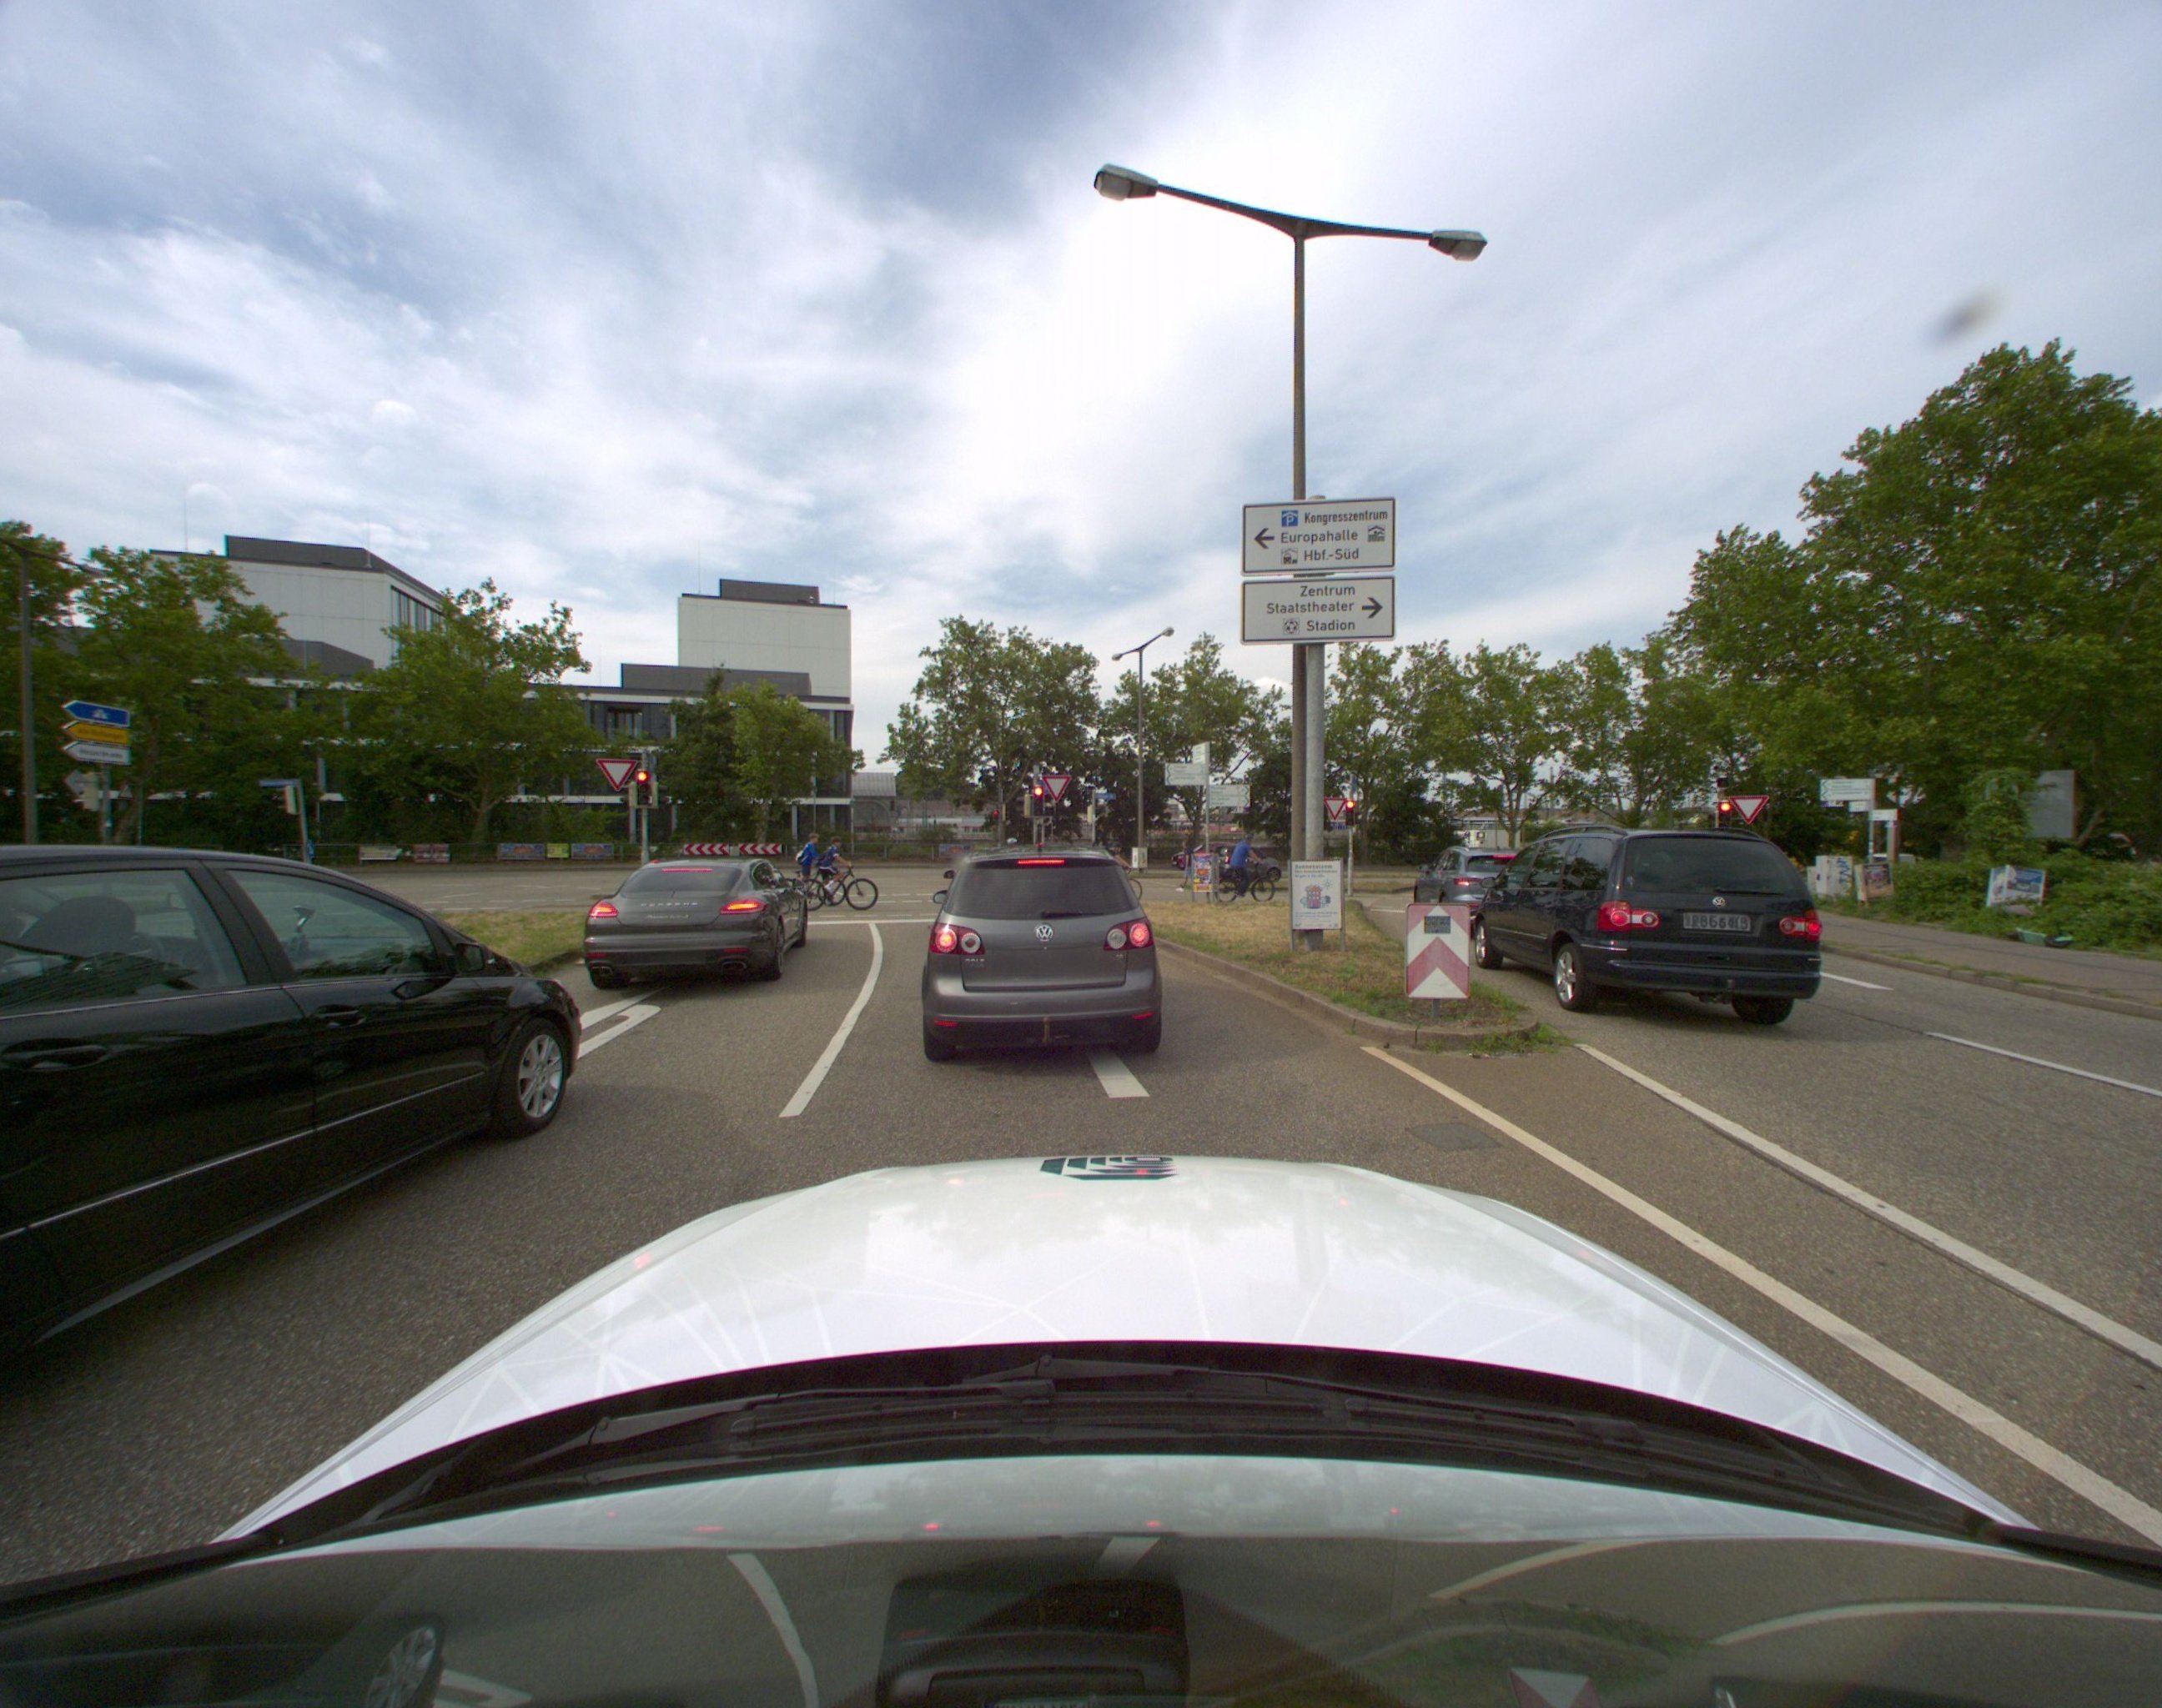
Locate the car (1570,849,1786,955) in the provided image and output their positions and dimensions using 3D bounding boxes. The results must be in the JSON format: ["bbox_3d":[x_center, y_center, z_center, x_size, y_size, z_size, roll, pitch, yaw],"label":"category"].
[{"bbox_3d":[10.859,0.777,15.209,1.738,1.643,4.152,2,0,13],"label":"car"}]

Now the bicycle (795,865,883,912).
[{"bbox_3d":[-5.517,0.778,18.669,1.904,1.013,0.625,-1,1,-16],"label":"bicycle"}]

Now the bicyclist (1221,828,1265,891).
[{"bbox_3d":[4.365,0.142,21.958,0.883,1.656,0.807,-1,0,-17],"label":"bicyclist"}]

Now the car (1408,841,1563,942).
[{"bbox_3d":[7.393,0.603,15.308,1.679,1.585,4.171,2,0,13],"label":"car"}]

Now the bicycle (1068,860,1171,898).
[{"bbox_3d":[0.985,0.634,21.116,2.586,0.890,0.701,-1,1,-13],"label":"bicycle"}]

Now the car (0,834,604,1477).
[{"bbox_3d":[-3.648,0.723,2.972,1.755,1.575,4.028,0,1,-6],"label":"car"}]

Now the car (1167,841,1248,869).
[{"bbox_3d":[6.804,0.044,43.764,3.963,1.448,1.692,-1,0,-19],"label":"car"}]

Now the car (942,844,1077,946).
[{"bbox_3d":[-1.391,0.592,14.116,1.743,1.482,4.063,-1,0,-14],"label":"car"}]

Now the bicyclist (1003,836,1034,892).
[{"bbox_3d":[-1.779,0.272,23.127,0.780,1.581,0.652,0,1,-12],"label":"bicyclist"}]

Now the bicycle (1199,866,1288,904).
[{"bbox_3d":[4.381,0.820,21.947,2.233,0.952,0.807,-1,0,-17],"label":"bicycle"}]

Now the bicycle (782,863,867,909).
[{"bbox_3d":[-6.144,0.753,19.526,1.906,1.013,0.625,-1,1,-18],"label":"bicycle"}]

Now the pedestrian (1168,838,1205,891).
[{"bbox_3d":[3.526,0.346,27.128,1.038,1.710,0.858,1,1,19],"label":"pedestrian"}]

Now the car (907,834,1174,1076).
[{"bbox_3d":[-0.457,0.641,7.371,1.739,1.546,4.073,-1,0,-6],"label":"car"}]

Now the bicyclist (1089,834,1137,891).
[{"bbox_3d":[0.816,0.213,21.067,1.115,1.436,0.645,-1,1,-13],"label":"bicyclist"}]

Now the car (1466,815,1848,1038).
[{"bbox_3d":[5.577,0.566,8.610,1.739,1.724,4.151,2,0,11],"label":"car"}]

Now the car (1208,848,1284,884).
[{"bbox_3d":[6.780,0.462,33.574,2.719,1.422,1.490,-1,0,-19],"label":"car"}]

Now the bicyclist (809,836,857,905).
[{"bbox_3d":[-5.650,0.370,18.612,1.018,1.539,0.625,-1,1,-15],"label":"bicyclist"}]

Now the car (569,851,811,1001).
[{"bbox_3d":[-4.629,0.691,10.439,1.821,1.414,4.754,0,1,-13],"label":"car"}]

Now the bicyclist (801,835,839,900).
[{"bbox_3d":[-6.243,0.307,19.507,0.841,1.529,0.625,-1,1,-18],"label":"bicyclist"}]

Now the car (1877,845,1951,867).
[{"bbox_3d":[57.726,0.116,56.445,4.336,1.448,1.752,-1,0,-15],"label":"car"}]

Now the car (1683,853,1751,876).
[{"bbox_3d":[43.065,0.684,55.152,3.963,1.448,1.692,-1,0,-19],"label":"car"}]
